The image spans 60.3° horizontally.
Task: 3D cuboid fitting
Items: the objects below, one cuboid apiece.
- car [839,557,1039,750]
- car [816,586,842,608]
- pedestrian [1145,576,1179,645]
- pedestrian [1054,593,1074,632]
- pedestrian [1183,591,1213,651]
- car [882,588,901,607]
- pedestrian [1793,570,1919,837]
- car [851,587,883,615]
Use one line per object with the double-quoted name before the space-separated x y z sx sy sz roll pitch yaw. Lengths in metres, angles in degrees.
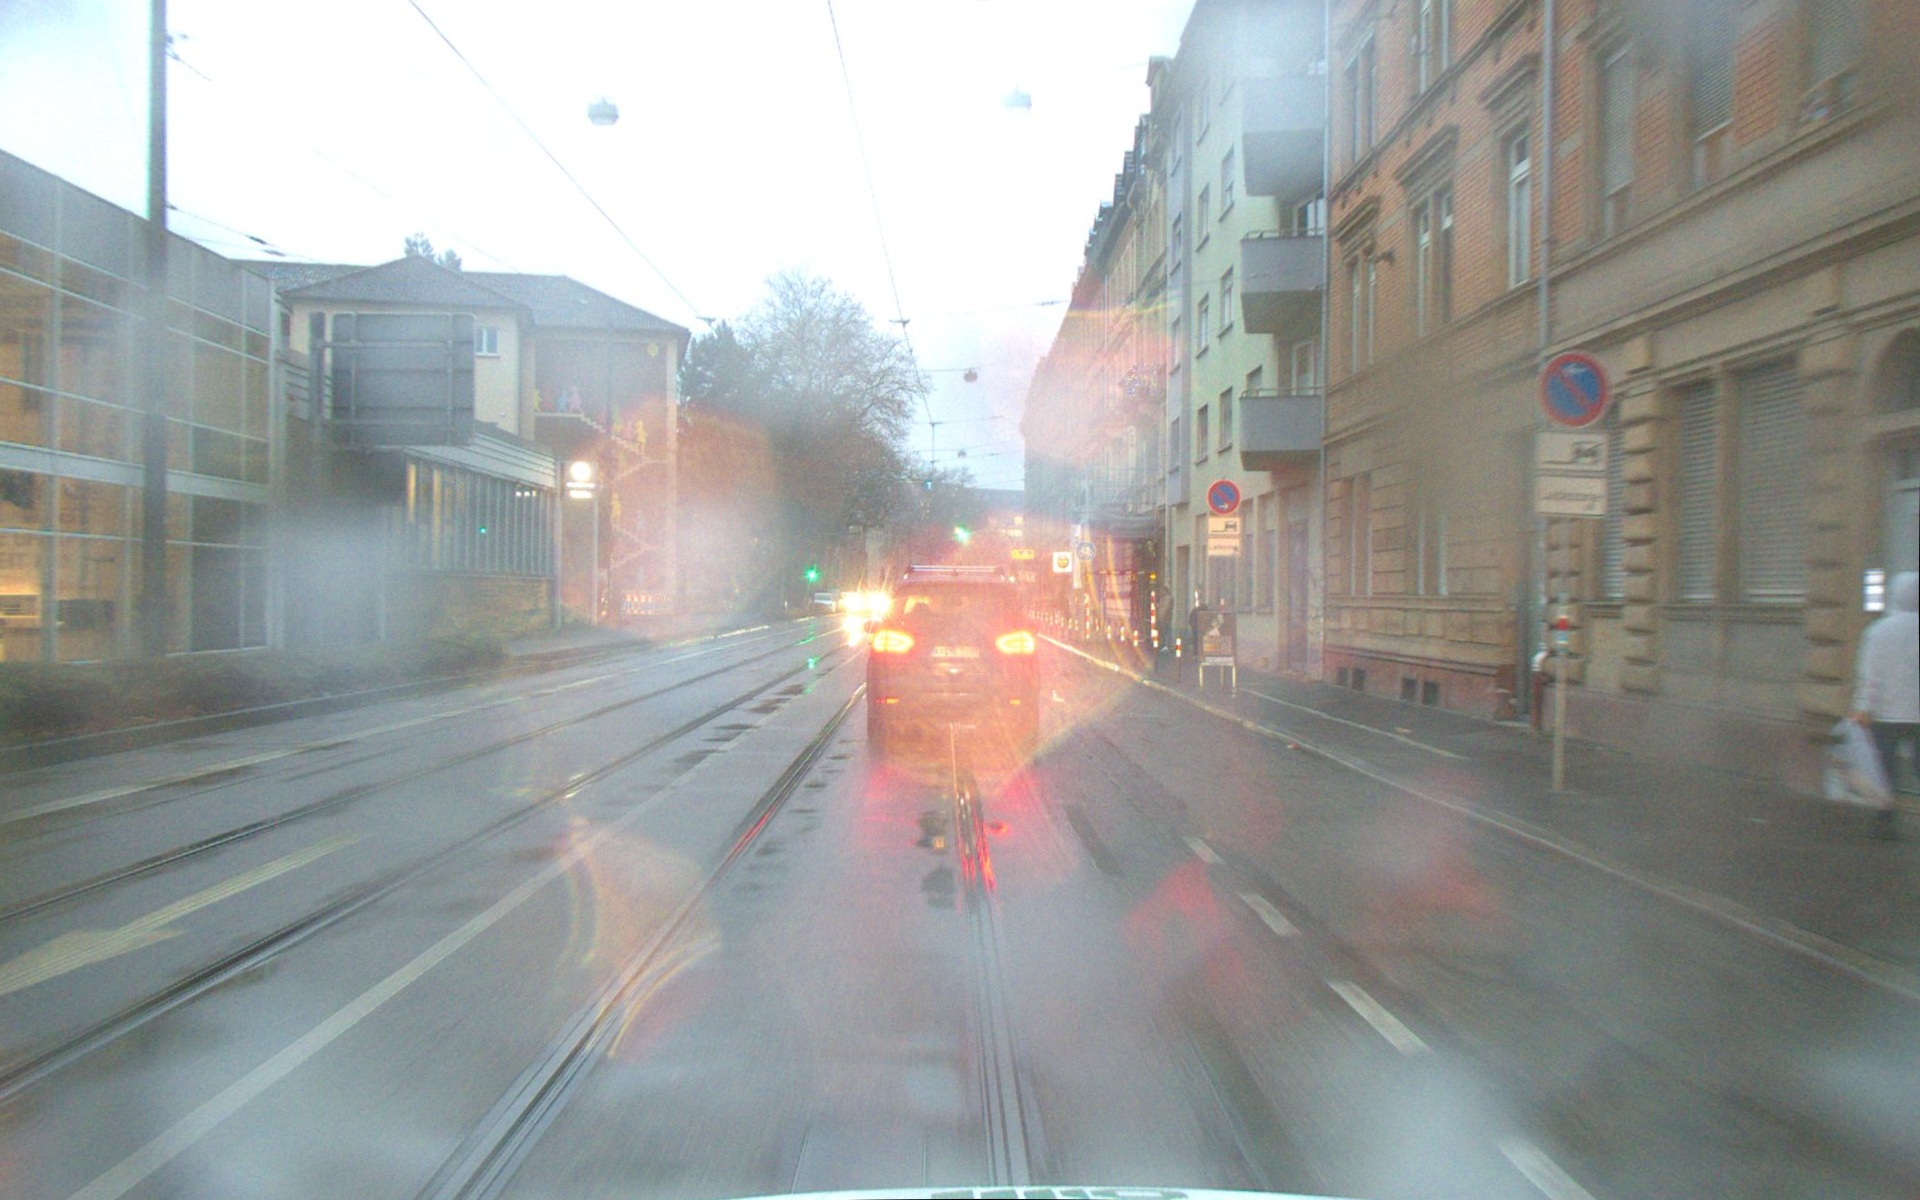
"car" -0.135 0.523 18.237 1.952 1.874 4.001 0 0 2
"car" -10.133 -0.194 128.262 1.945 1.644 4.425 1 0 -5
"pedestrian" 5.477 0.295 44.877 0.592 1.850 0.769 1 -1 -28
"pedestrian" 4.685 0.545 74.607 0.817 1.731 0.954 1 -1 8
"pedestrian" 5.652 0.485 39.271 0.587 1.401 0.728 1 -1 -1
"car" -5.625 -0.233 135.991 1.499 1.507 3.561 0 0 0
"pedestrian" 5.813 0.627 10.409 0.770 1.625 0.742 0 0 0
"car" -5.896 0.045 105.114 1.837 1.739 4.759 -1 0 -1
